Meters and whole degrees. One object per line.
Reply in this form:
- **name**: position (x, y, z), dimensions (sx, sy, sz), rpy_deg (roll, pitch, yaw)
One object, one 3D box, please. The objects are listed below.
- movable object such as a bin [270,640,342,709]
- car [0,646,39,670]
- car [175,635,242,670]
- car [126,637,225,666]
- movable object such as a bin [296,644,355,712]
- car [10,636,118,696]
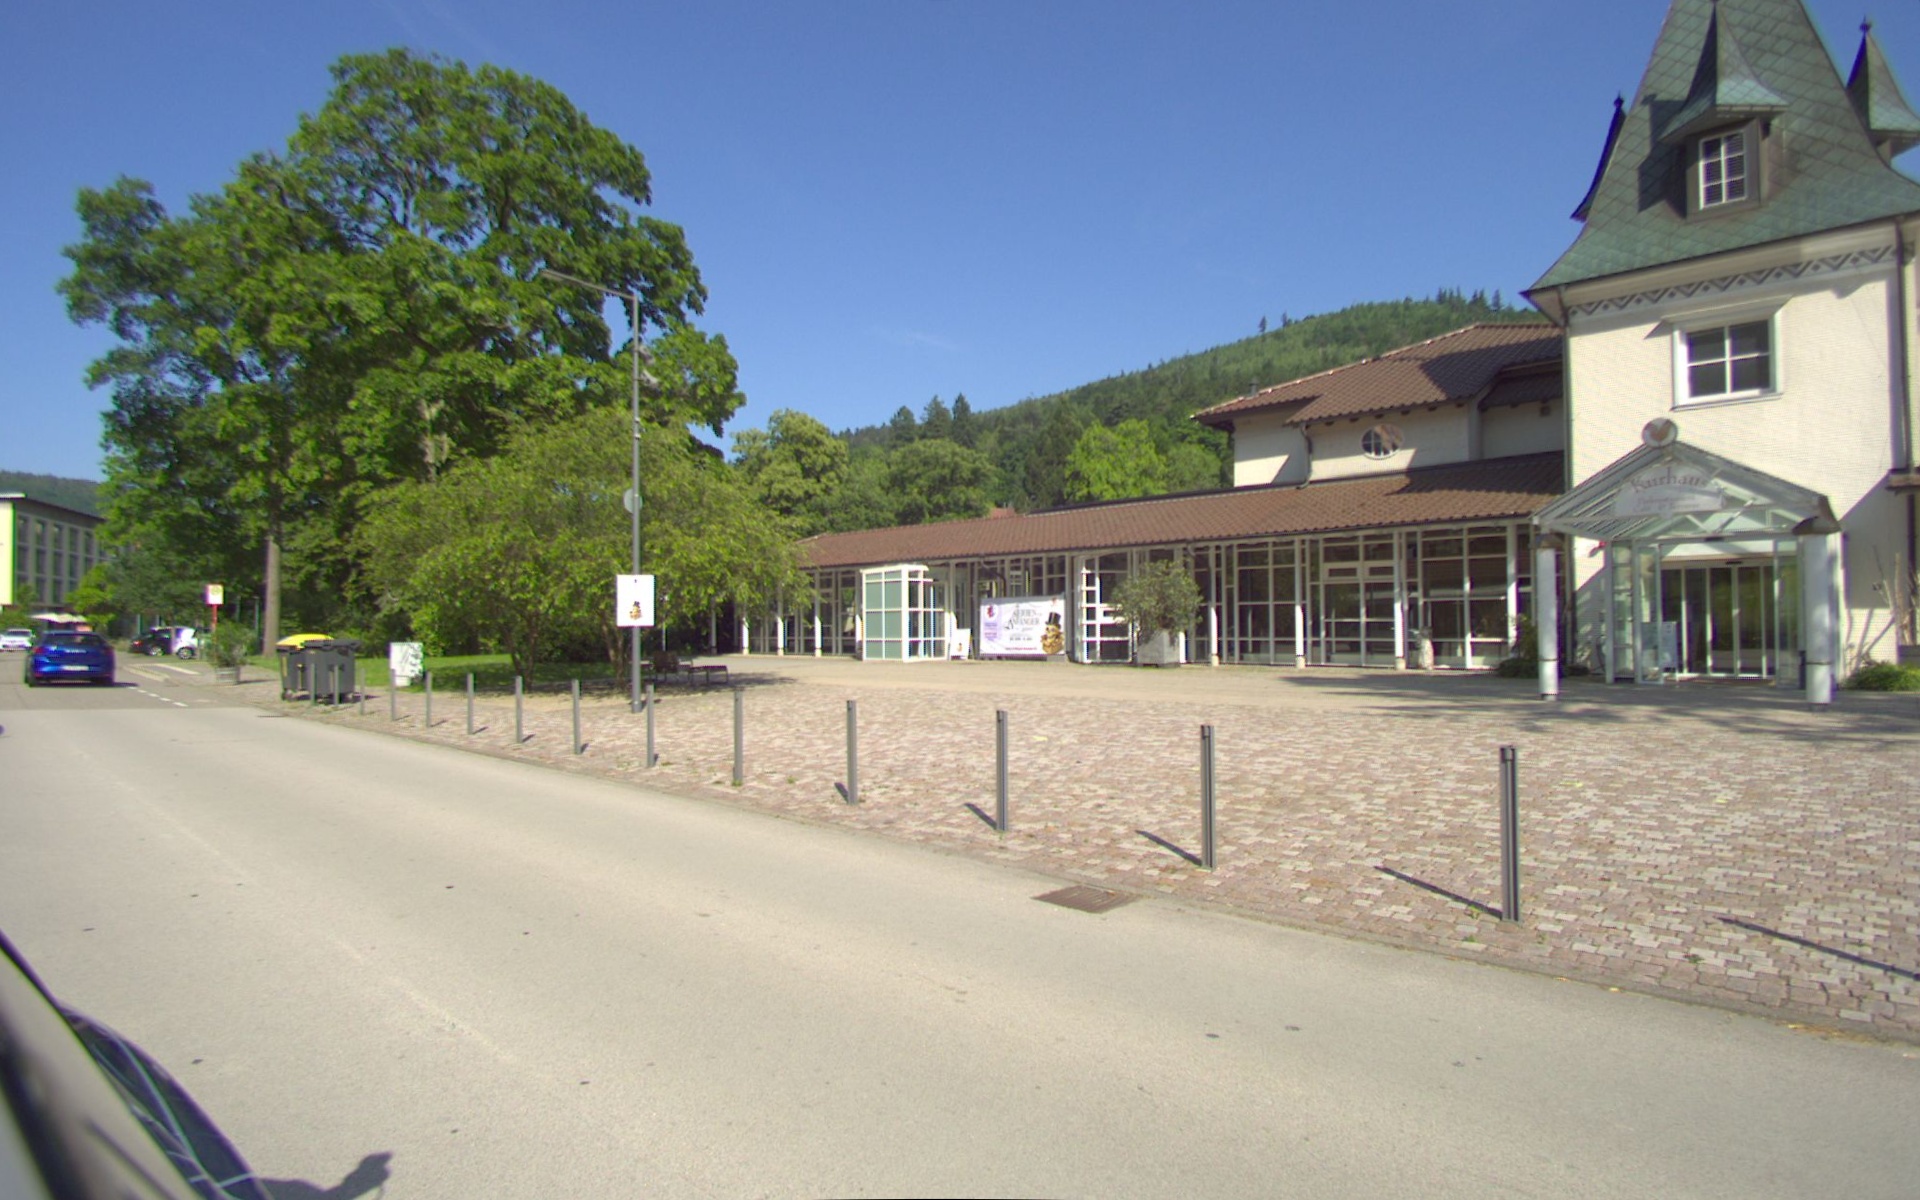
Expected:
- **movable object such as a bin**: position (-14.678, 1.639, 22.698), dimensions (1.377, 1.438, 1.066), rpy_deg (-3, -1, 44)
- **car**: position (-63.328, 3.875, 67.921), dimensions (1.628, 1.482, 4.011), rpy_deg (-1, -1, -33)
- **car**: position (-37.465, 2.589, 50.484), dimensions (2.616, 1.558, 1.686), rpy_deg (-1, -1, -37)
- **car**: position (-44.410, 2.888, 57.357), dimensions (1.712, 1.442, 4.231), rpy_deg (-2, -1, 41)
- **movable object such as a bin**: position (-13.340, 1.614, 21.270), dimensions (1.295, 1.352, 0.746), rpy_deg (-3, -1, 44)
- **car**: position (-24.218, 1.745, 27.313), dimensions (4.187, 1.474, 1.722), rpy_deg (-1, -4, 43)
